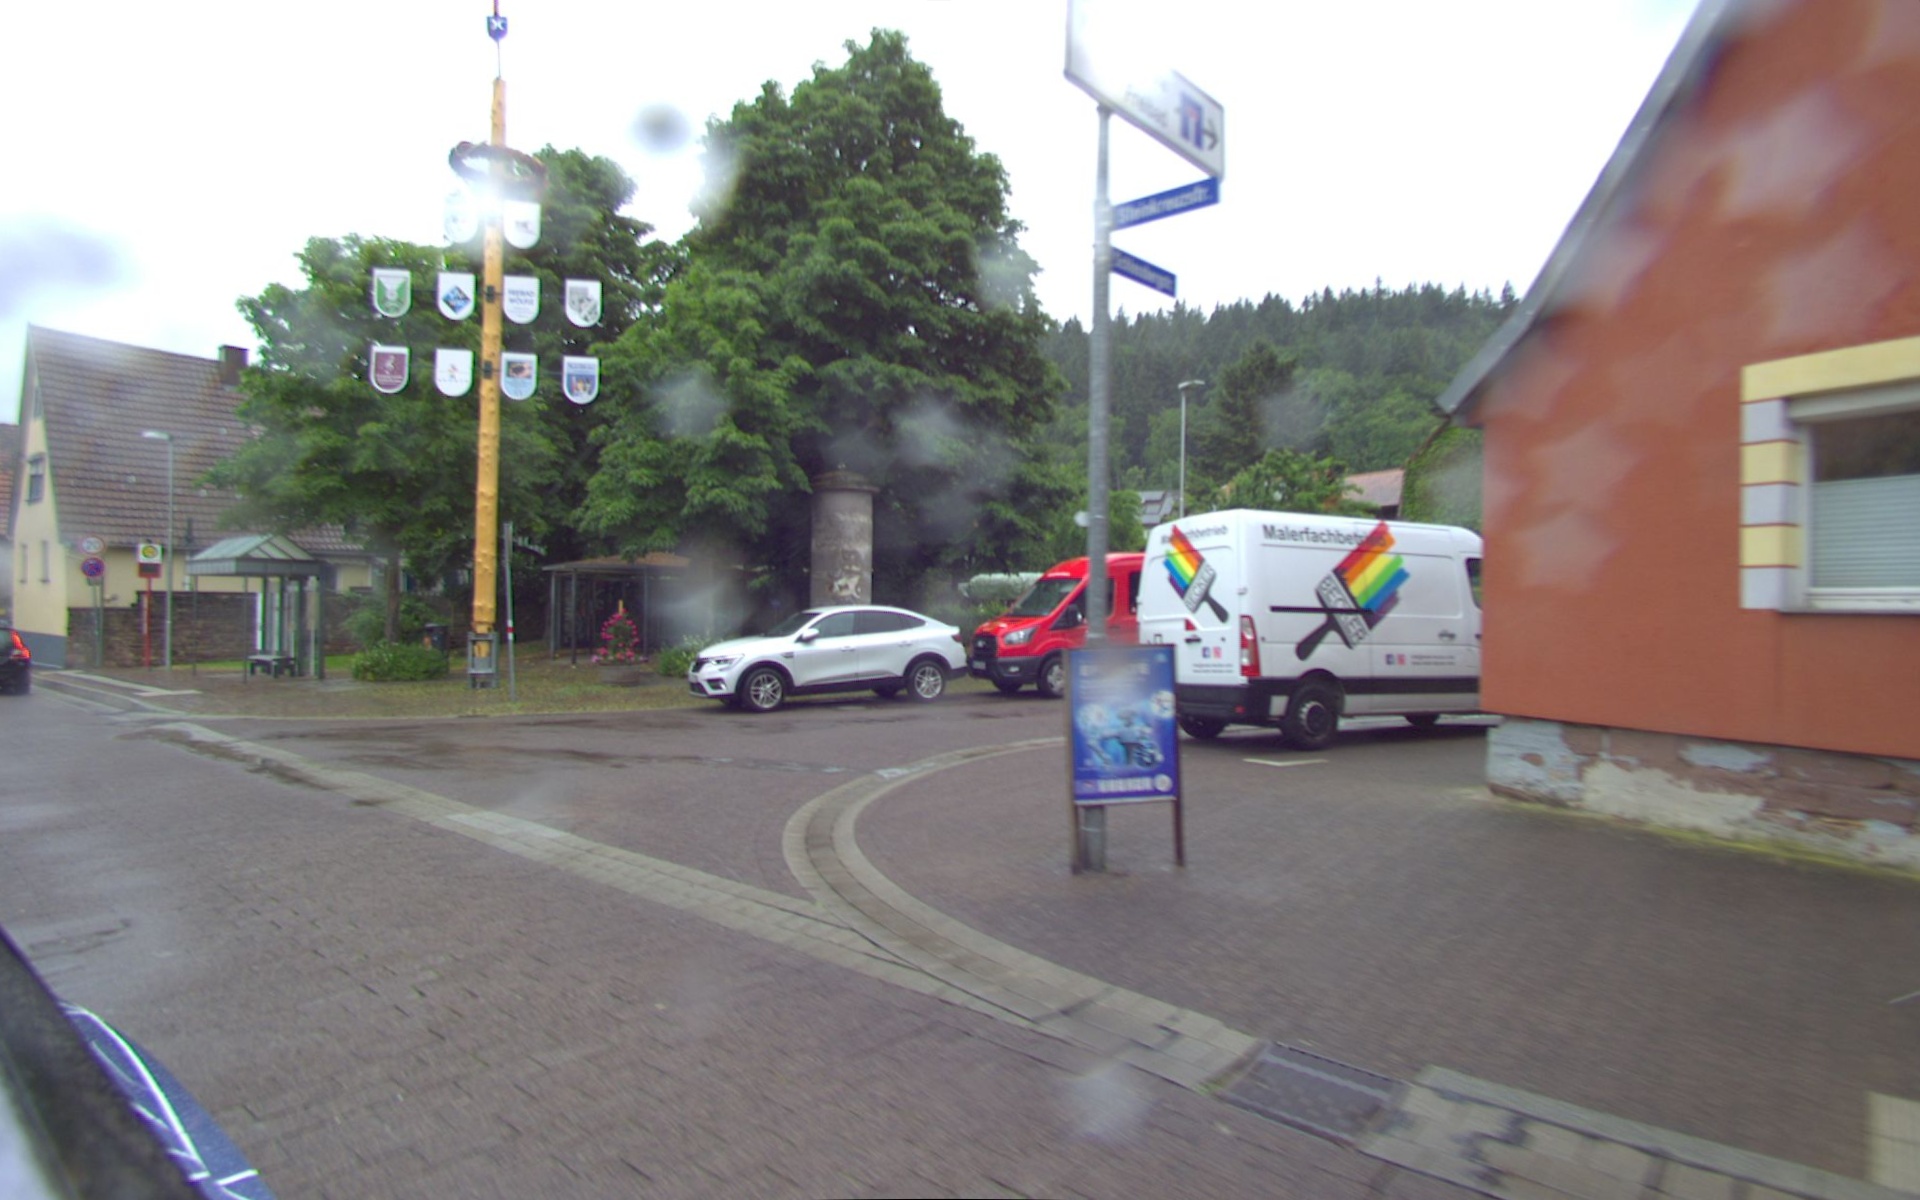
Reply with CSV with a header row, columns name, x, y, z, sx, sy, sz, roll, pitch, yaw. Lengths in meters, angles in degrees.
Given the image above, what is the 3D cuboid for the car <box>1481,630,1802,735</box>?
name,x,y,z,sx,sy,sz,roll,pitch,yaw
car,9.533,1.076,14.178,3.934,1.291,1.843,1,-2,-23

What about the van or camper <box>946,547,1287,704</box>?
name,x,y,z,sx,sy,sz,roll,pitch,yaw
van or camper,2.833,0.396,18.173,5.775,2.492,2.162,0,0,-23

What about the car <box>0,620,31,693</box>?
name,x,y,z,sx,sy,sz,roll,pitch,yaw
car,-21.662,1.203,21.960,4.313,1.488,1.824,-2,-3,42

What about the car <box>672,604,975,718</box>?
name,x,y,z,sx,sy,sz,roll,pitch,yaw
car,-2.154,0.882,16.148,4.383,1.561,1.888,-1,-1,-28

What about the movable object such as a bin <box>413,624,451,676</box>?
name,x,y,z,sx,sy,sz,roll,pitch,yaw
movable object such as a bin,-12.018,1.133,23.046,0.604,1.155,0.556,1,0,39

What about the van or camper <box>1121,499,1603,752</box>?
name,x,y,z,sx,sy,sz,roll,pitch,yaw
van or camper,4.659,0.303,11.794,5.069,2.454,2.218,1,-2,-23
